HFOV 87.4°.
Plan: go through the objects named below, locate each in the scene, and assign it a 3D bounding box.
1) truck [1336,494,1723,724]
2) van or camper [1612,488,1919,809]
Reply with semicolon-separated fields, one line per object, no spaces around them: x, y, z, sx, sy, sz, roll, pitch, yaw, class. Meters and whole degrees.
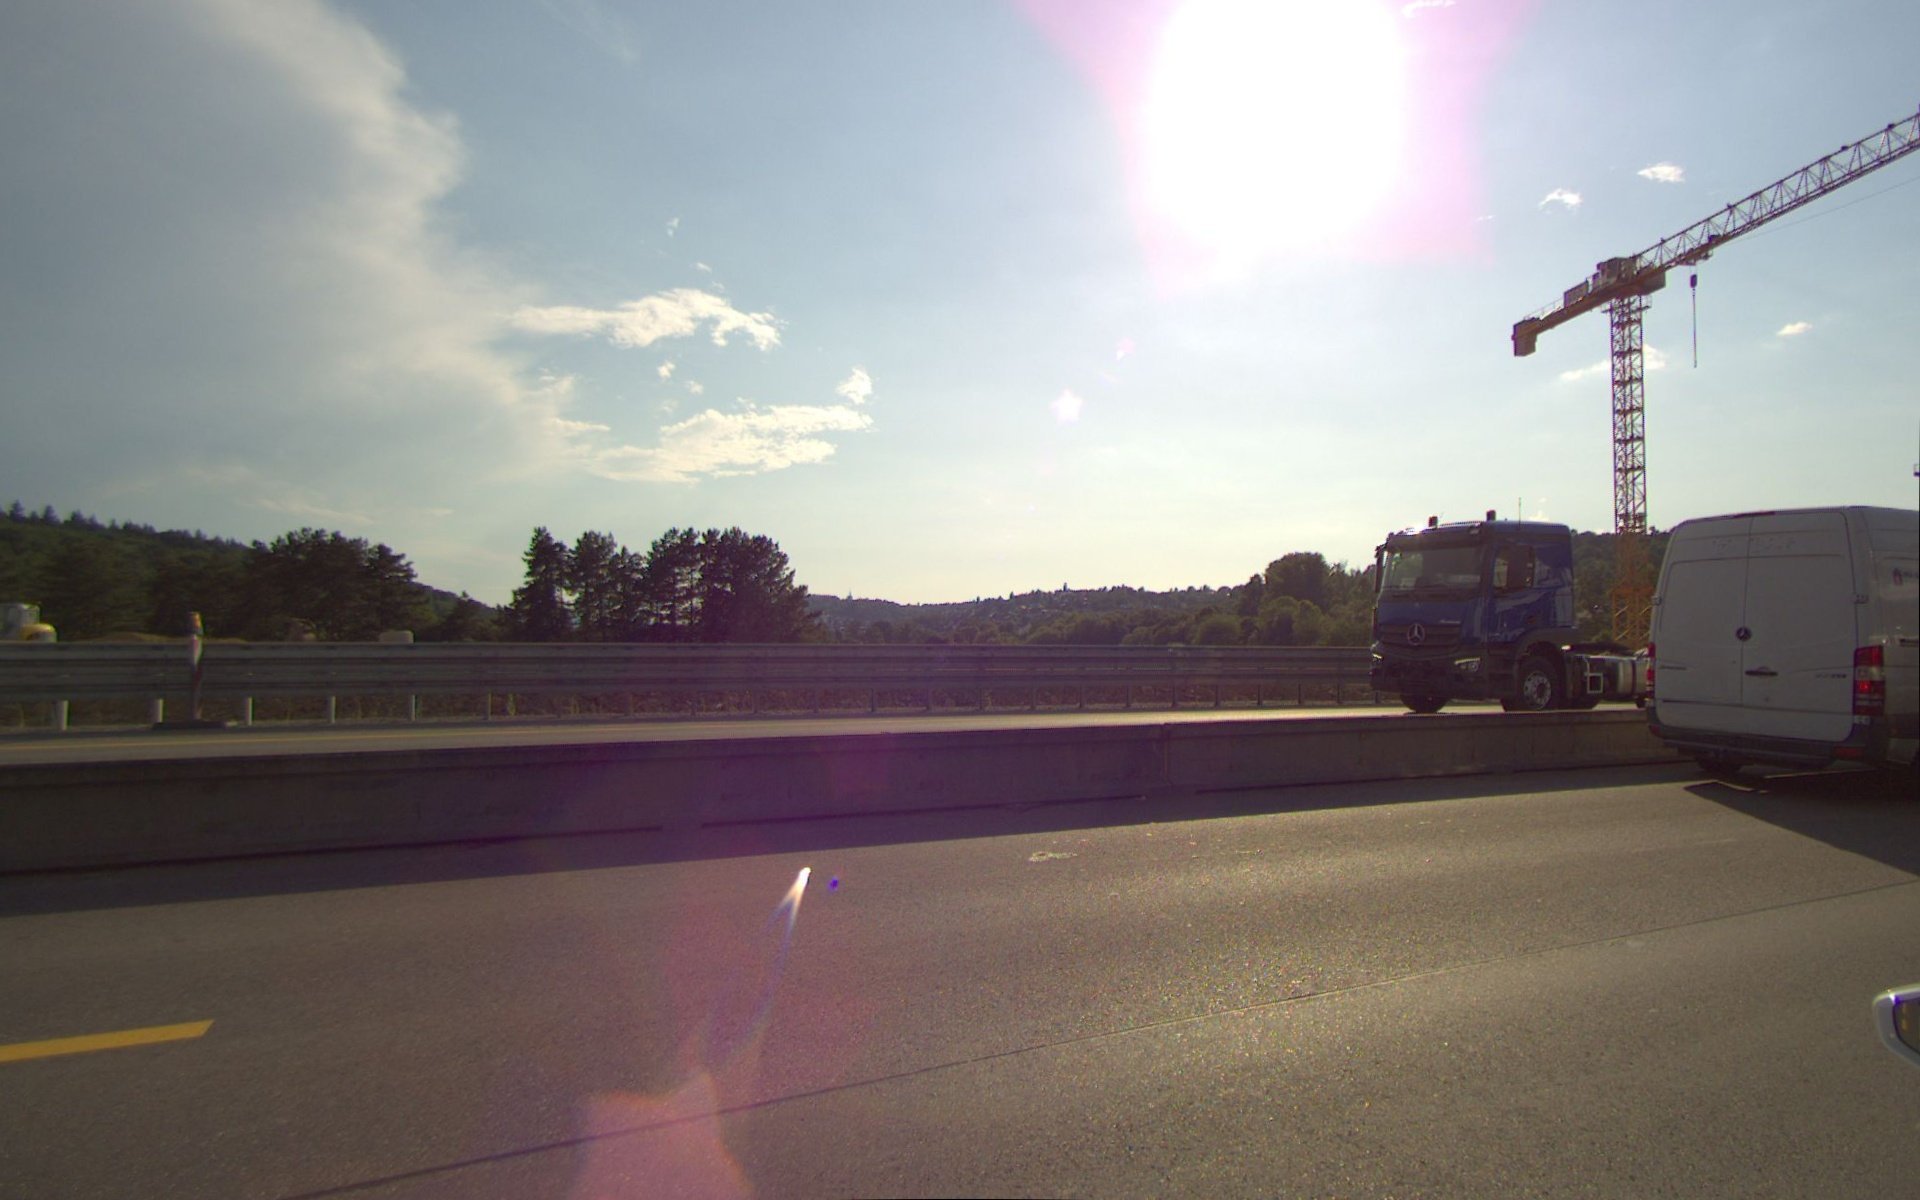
9.870;0.228;17.502;5.865;3.441;2.891;1;-2;-22;truck
9.643;0.483;10.389;5.819;2.654;1.989;1;-1;-23;van or camper
